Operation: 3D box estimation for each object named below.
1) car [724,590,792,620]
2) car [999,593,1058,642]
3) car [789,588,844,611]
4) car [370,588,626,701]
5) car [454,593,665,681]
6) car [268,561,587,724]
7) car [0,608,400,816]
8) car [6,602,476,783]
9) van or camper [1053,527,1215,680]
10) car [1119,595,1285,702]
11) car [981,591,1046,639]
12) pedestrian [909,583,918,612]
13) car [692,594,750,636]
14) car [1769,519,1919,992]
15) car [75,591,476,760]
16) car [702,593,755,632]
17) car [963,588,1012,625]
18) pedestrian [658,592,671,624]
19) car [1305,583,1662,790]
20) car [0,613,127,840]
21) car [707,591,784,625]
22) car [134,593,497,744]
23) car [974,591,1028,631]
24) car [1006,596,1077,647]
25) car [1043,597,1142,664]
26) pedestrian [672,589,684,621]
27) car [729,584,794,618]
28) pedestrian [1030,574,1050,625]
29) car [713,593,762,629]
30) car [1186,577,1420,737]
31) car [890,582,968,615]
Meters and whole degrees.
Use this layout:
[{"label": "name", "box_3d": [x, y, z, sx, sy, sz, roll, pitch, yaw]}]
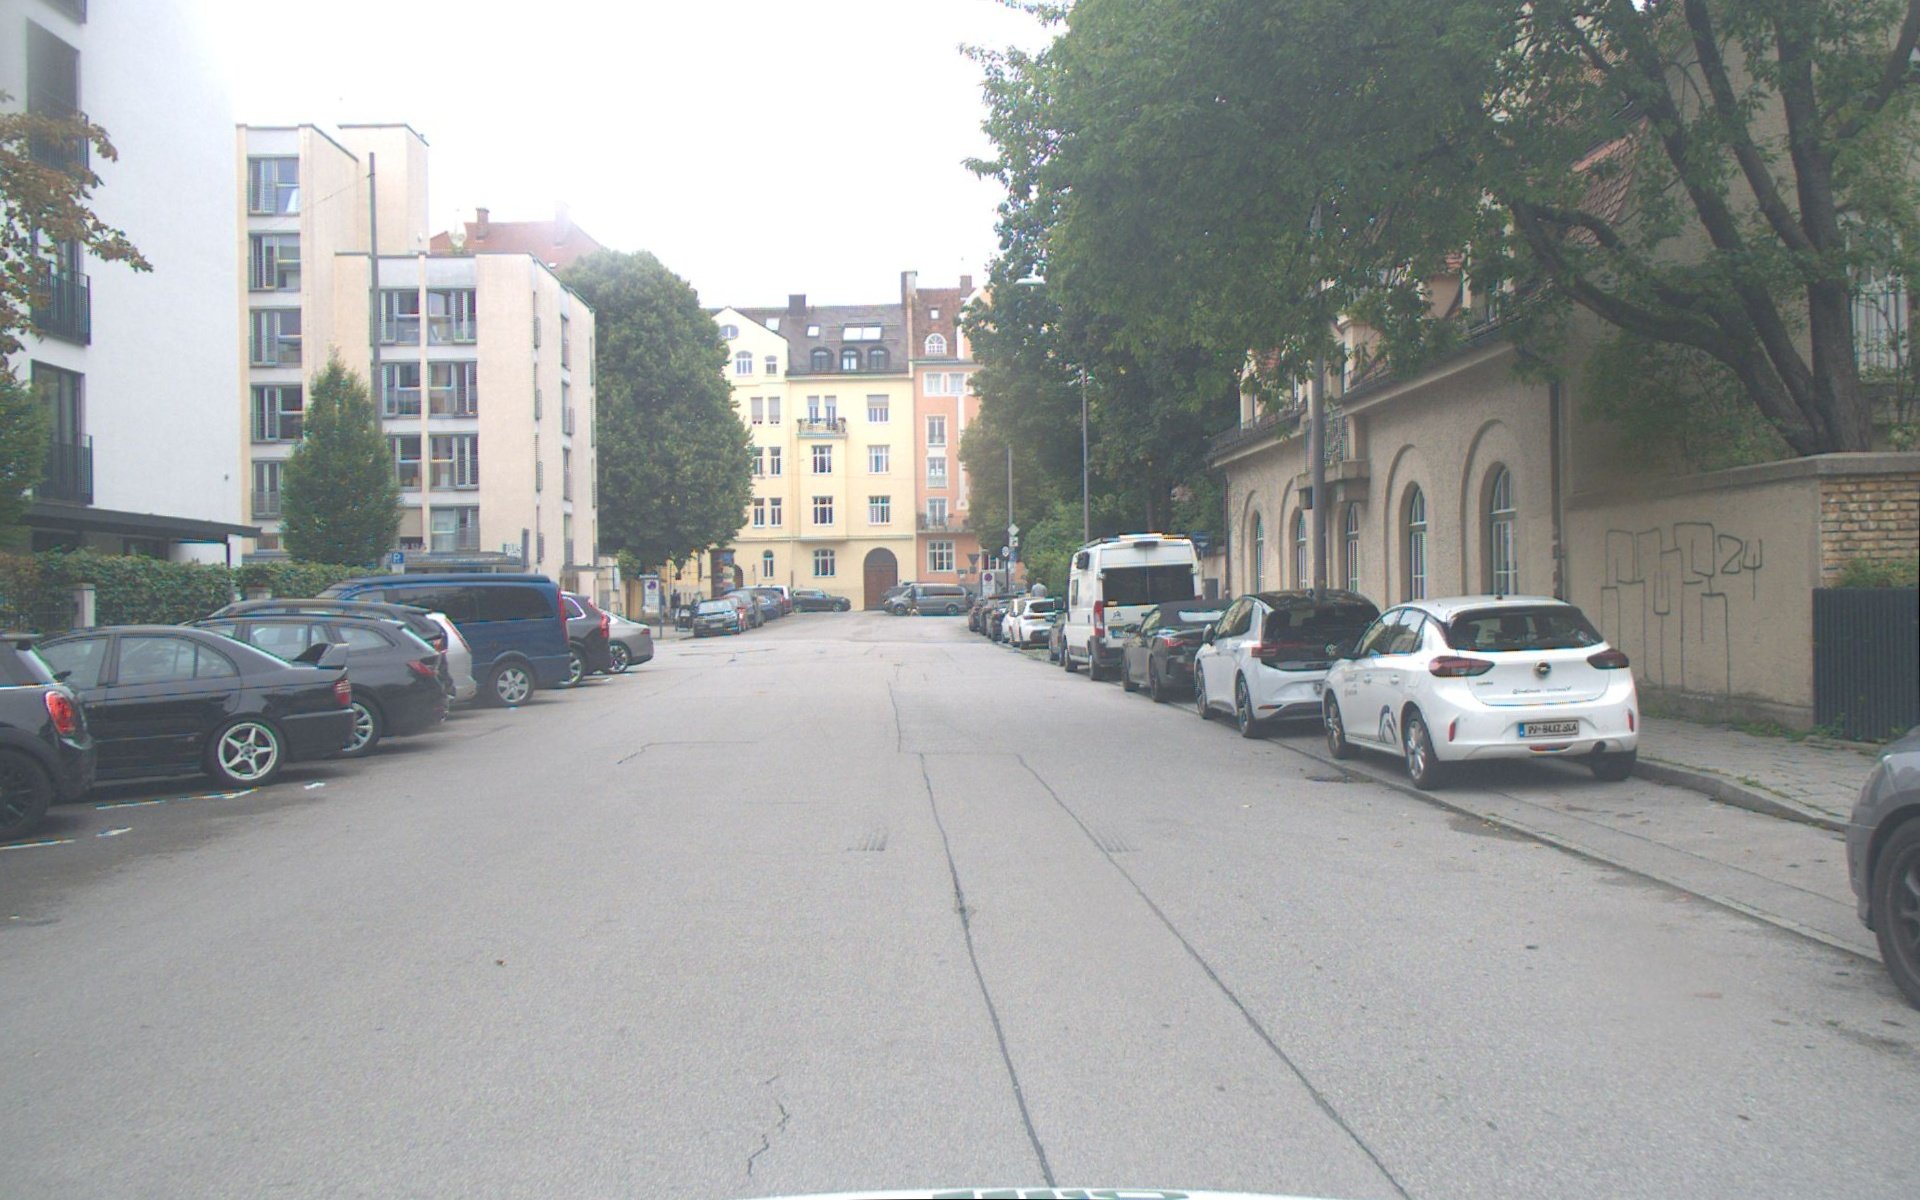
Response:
[{"label": "car", "box_3d": [-12.379, 0.326, 101.360, 3.908, 1.534, 1.839, -4, 0, -3]}, {"label": "car", "box_3d": [2.255, 0.552, 55.226, 1.673, 1.491, 3.836, -2, 0, -2]}, {"label": "car", "box_3d": [-10.603, -0.056, 122.009, 3.906, 1.614, 1.703, -1, 0, -1]}, {"label": "car", "box_3d": [-8.243, 0.755, 29.611, 4.069, 1.738, 1.717, -3, 1, -33]}, {"label": "car", "box_3d": [-8.641, 0.764, 35.816, 4.072, 1.637, 1.716, -3, 1, -35]}, {"label": "car", "box_3d": [-7.846, 0.566, 24.481, 4.164, 2.102, 1.718, -3, 1, -32]}, {"label": "car", "box_3d": [-7.150, 0.910, 14.122, 4.166, 1.487, 1.717, -3, 1, -33]}, {"label": "car", "box_3d": [-7.216, 0.860, 16.900, 4.149, 1.487, 1.724, -3, 0, -24]}, {"label": "van or camper", "box_3d": [3.226, 0.044, 31.954, 2.149, 2.594, 5.725, -2, 0, -3]}, {"label": "car", "box_3d": [3.567, 0.665, 25.101, 1.673, 1.393, 4.439, -2, 0, -2]}, {"label": "car", "box_3d": [1.887, 0.519, 59.504, 1.768, 1.491, 3.833, -2, 2, -6]}, {"label": "pedestrian", "box_3d": [-2.680, -0.141, 95.898, 0.454, 1.686, 0.572, -1, 0, -8]}, {"label": "car", "box_3d": [-9.708, 0.593, 67.356, 1.798, 1.534, 3.998, -4, 0, -2]}, {"label": "car", "box_3d": [4.611, 0.536, 4.610, 1.955, 1.741, 4.880, -3, 0, -5]}, {"label": "car", "box_3d": [-8.000, 0.808, 19.443, 4.156, 1.637, 1.721, -3, 1, -28]}, {"label": "car", "box_3d": [-10.225, 0.542, 73.289, 1.798, 1.534, 3.998, -4, 0, -2]}, {"label": "car", "box_3d": [1.142, 0.251, 69.833, 1.638, 1.367, 3.834, -2, 2, -5]}, {"label": "pedestrian", "box_3d": [-15.703, 0.431, 87.881, 0.559, 1.686, 0.464, -1, 0, -2]}, {"label": "car", "box_3d": [4.281, 0.642, 14.193, 1.651, 1.466, 3.998, -2, 0, -2]}, {"label": "car", "box_3d": [-8.001, 0.897, 11.208, 4.154, 1.487, 1.778, -2, 0, -27]}, {"label": "car", "box_3d": [-11.555, 0.428, 89.429, 3.908, 1.534, 1.839, -4, 0, -3]}, {"label": "car", "box_3d": [-8.404, 0.827, 21.663, 4.164, 1.637, 1.718, -3, 1, -32]}, {"label": "car", "box_3d": [1.593, 0.399, 64.931, 1.638, 1.367, 3.834, -2, 2, -5]}, {"label": "car", "box_3d": [2.423, 0.623, 50.289, 1.673, 1.432, 4.127, -2, 0, -3]}, {"label": "car", "box_3d": [3.020, 0.659, 38.355, 1.673, 1.393, 4.127, -2, 0, -3]}, {"label": "pedestrian", "box_3d": [-14.994, 0.267, 88.002, 0.559, 1.686, 0.464, -1, 0, -2]}, {"label": "car", "box_3d": [-12.694, 0.059, 106.138, 3.908, 1.830, 1.839, -4, 0, -3]}, {"label": "pedestrian", "box_3d": [3.287, -0.027, 67.789, 0.757, 2.049, 0.562, -1, 0, -3]}, {"label": "car", "box_3d": [-10.485, 0.500, 78.178, 1.798, 1.534, 3.998, -4, 0, -2]}, {"label": "car", "box_3d": [3.856, 0.579, 19.317, 1.673, 1.564, 4.238, -3, 0, -2]}, {"label": "car", "box_3d": [-1.867, -0.085, 99.899, 4.611, 1.913, 1.839, -1, 0, -4]}]
